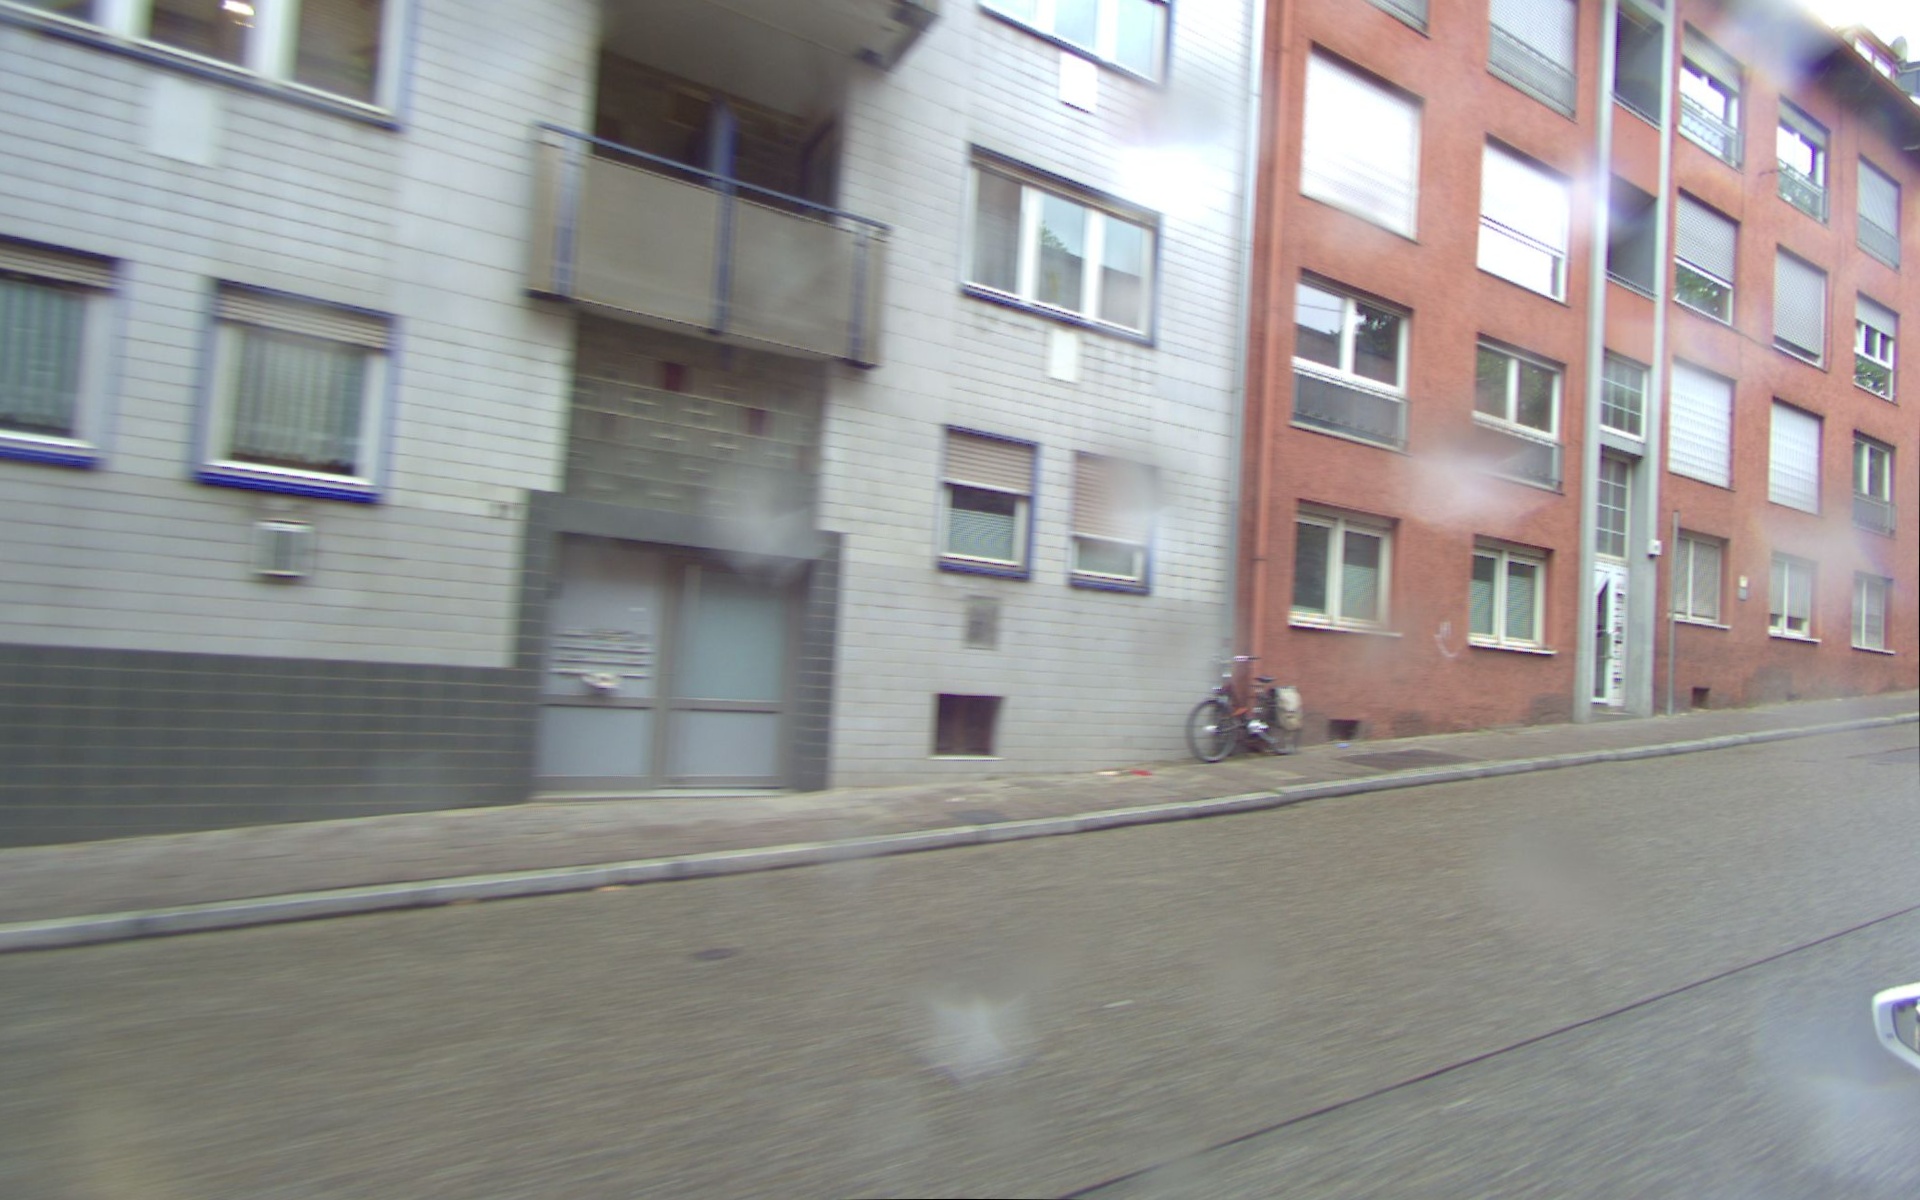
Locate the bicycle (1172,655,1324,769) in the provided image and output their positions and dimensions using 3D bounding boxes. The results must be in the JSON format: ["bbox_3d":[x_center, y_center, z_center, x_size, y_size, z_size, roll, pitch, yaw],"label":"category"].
[{"bbox_3d":[3.168,1.186,10.992,1.778,1.122,0.496,0,-1,-29],"label":"bicycle"}]
